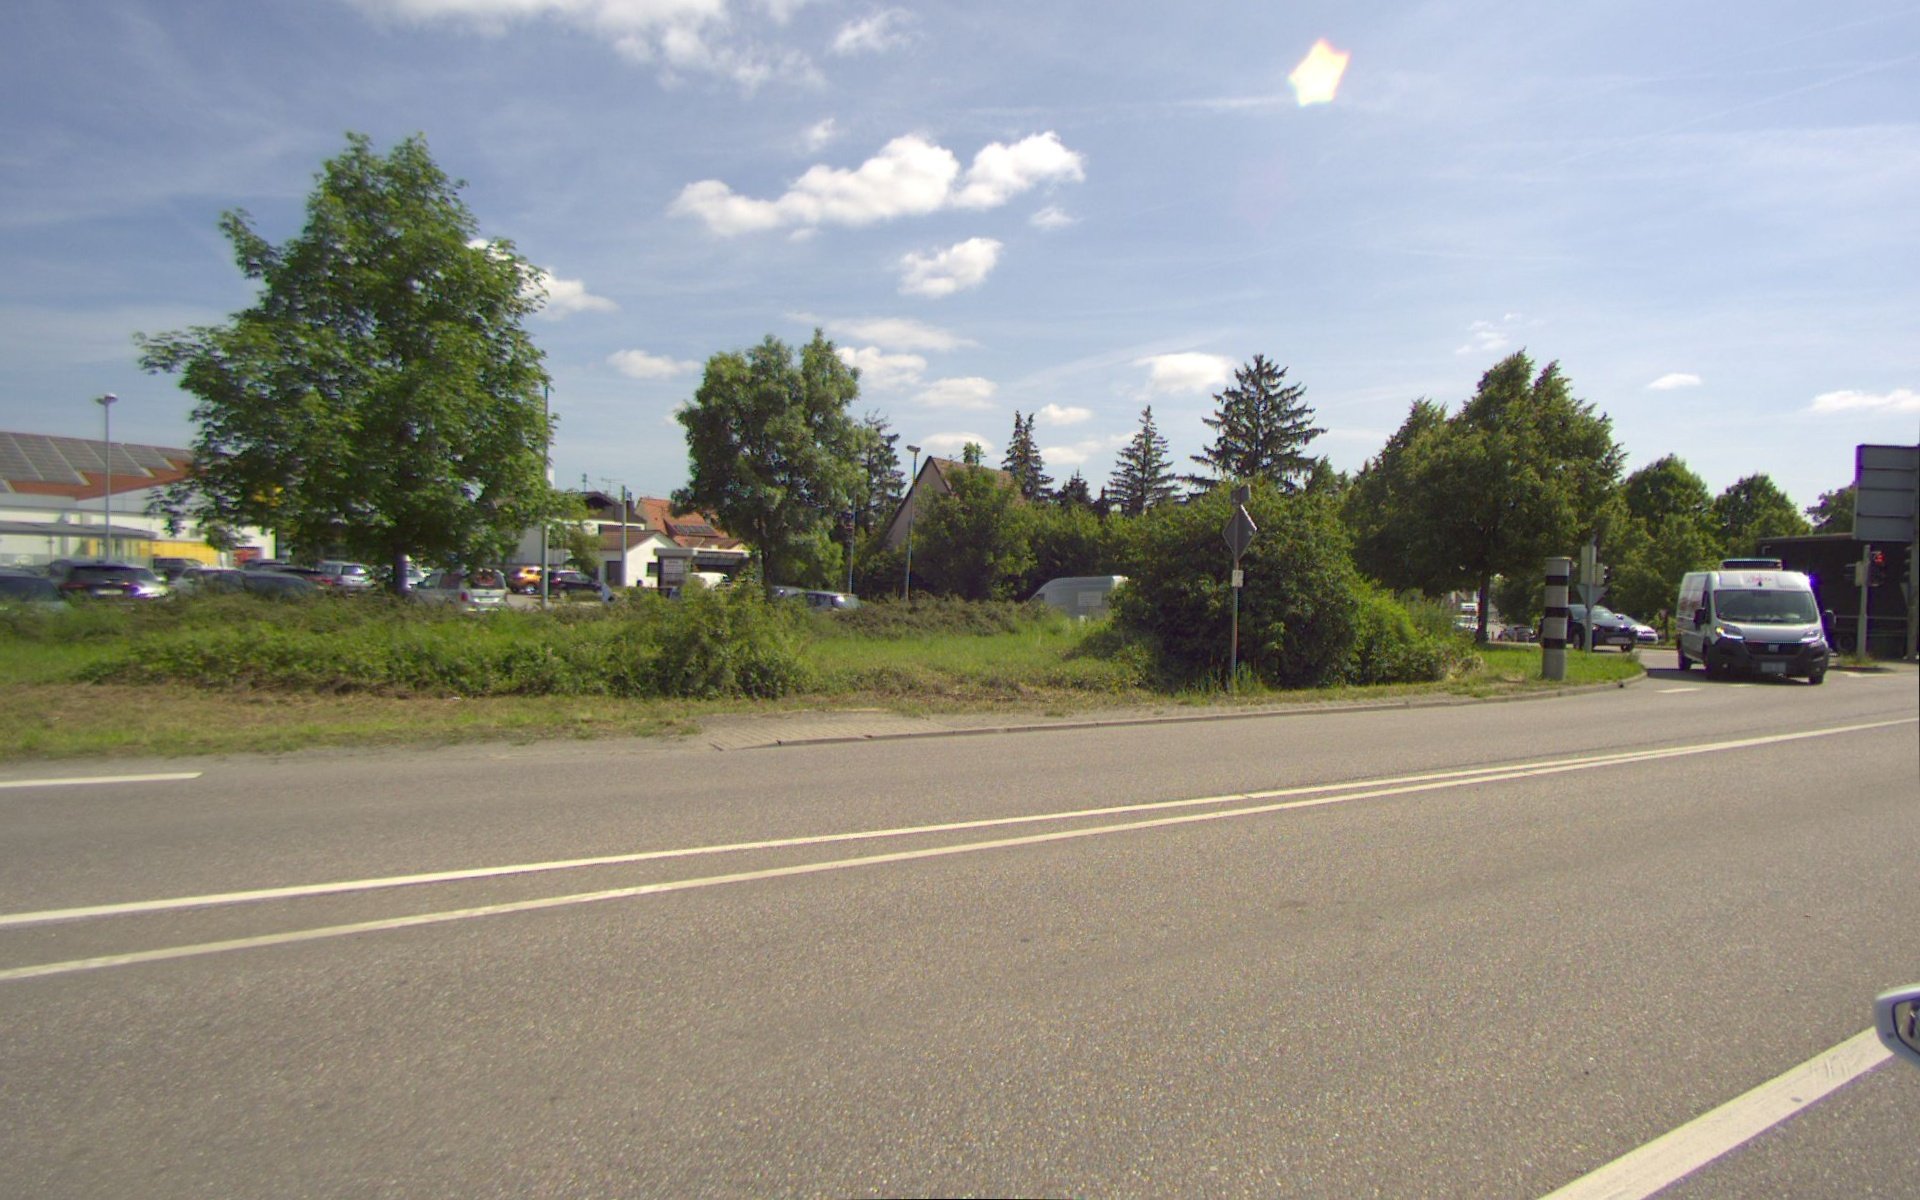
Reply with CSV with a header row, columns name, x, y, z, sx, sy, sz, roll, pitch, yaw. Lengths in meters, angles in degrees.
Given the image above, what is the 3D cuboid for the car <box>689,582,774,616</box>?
name,x,y,z,sx,sy,sz,roll,pitch,yaw
car,-11.826,-0.030,52.089,1.883,1.662,3.984,2,0,38

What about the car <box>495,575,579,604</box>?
name,x,y,z,sx,sy,sz,roll,pitch,yaw
car,-25.360,-0.593,60.313,1.849,1.562,4.243,2,0,37

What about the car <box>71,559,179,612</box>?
name,x,y,z,sx,sy,sz,roll,pitch,yaw
car,-26.494,-0.457,31.830,3.936,1.549,1.772,2,0,37

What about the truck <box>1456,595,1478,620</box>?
name,x,y,z,sx,sy,sz,roll,pitch,yaw
truck,83.149,1.234,164.671,2.894,3.848,7.912,1,0,29

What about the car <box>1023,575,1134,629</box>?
name,x,y,z,sx,sy,sz,roll,pitch,yaw
car,5.286,0.054,45.039,4.524,2.209,1.992,2,1,37

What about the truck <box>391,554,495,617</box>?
name,x,y,z,sx,sy,sz,roll,pitch,yaw
truck,-20.598,-0.590,39.998,3.932,2.397,1.994,2,0,34

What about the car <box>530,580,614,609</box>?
name,x,y,z,sx,sy,sz,roll,pitch,yaw
car,-22.784,-0.302,59.055,1.849,1.562,4.243,2,0,37

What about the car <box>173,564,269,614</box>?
name,x,y,z,sx,sy,sz,roll,pitch,yaw
car,-24.777,-0.390,33.643,3.941,1.549,1.770,2,0,41

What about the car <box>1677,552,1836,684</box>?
name,x,y,z,sx,sy,sz,roll,pitch,yaw
car,18.438,0.394,23.559,2.087,2.690,5.973,1,0,31

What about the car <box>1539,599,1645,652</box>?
name,x,y,z,sx,sy,sz,roll,pitch,yaw
car,23.102,0.913,36.885,1.834,1.773,4.113,2,0,10

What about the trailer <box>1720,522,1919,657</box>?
name,x,y,z,sx,sy,sz,roll,pitch,yaw
trailer,30.802,-0.316,30.663,2.749,4.116,13.698,0,1,-11

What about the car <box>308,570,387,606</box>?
name,x,y,z,sx,sy,sz,roll,pitch,yaw
car,-28.537,-0.578,46.768,4.193,1.562,1.871,2,0,40

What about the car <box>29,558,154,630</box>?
name,x,y,z,sx,sy,sz,roll,pitch,yaw
car,-23.079,-0.198,26.644,3.939,1.697,1.903,3,2,40

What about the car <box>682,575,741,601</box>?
name,x,y,z,sx,sy,sz,roll,pitch,yaw
car,-18.390,-0.870,74.489,1.866,1.782,3.988,2,0,35

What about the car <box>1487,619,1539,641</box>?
name,x,y,z,sx,sy,sz,roll,pitch,yaw
car,40.946,2.214,74.500,1.959,1.448,4.002,2,0,7

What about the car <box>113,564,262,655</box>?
name,x,y,z,sx,sy,sz,roll,pitch,yaw
car,-15.840,0.153,20.534,3.941,1.679,1.686,2,0,42

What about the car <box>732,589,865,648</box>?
name,x,y,z,sx,sy,sz,roll,pitch,yaw
car,-5.347,0.592,33.259,3.928,1.751,1.997,2,0,29

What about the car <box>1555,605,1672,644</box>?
name,x,y,z,sx,sy,sz,roll,pitch,yaw
car,28.420,1.027,43.834,1.778,1.480,4.251,2,0,-11

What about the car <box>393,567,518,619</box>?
name,x,y,z,sx,sy,sz,roll,pitch,yaw
car,-17.581,-0.259,34.966,4.354,1.717,1.994,1,0,34

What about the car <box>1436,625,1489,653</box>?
name,x,y,z,sx,sy,sz,roll,pitch,yaw
car,29.363,2.269,58.769,1.758,1.436,4.050,0,1,11

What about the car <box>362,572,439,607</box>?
name,x,y,z,sx,sy,sz,roll,pitch,yaw
car,-27.257,-0.506,48.910,4.193,1.562,1.871,2,0,40
